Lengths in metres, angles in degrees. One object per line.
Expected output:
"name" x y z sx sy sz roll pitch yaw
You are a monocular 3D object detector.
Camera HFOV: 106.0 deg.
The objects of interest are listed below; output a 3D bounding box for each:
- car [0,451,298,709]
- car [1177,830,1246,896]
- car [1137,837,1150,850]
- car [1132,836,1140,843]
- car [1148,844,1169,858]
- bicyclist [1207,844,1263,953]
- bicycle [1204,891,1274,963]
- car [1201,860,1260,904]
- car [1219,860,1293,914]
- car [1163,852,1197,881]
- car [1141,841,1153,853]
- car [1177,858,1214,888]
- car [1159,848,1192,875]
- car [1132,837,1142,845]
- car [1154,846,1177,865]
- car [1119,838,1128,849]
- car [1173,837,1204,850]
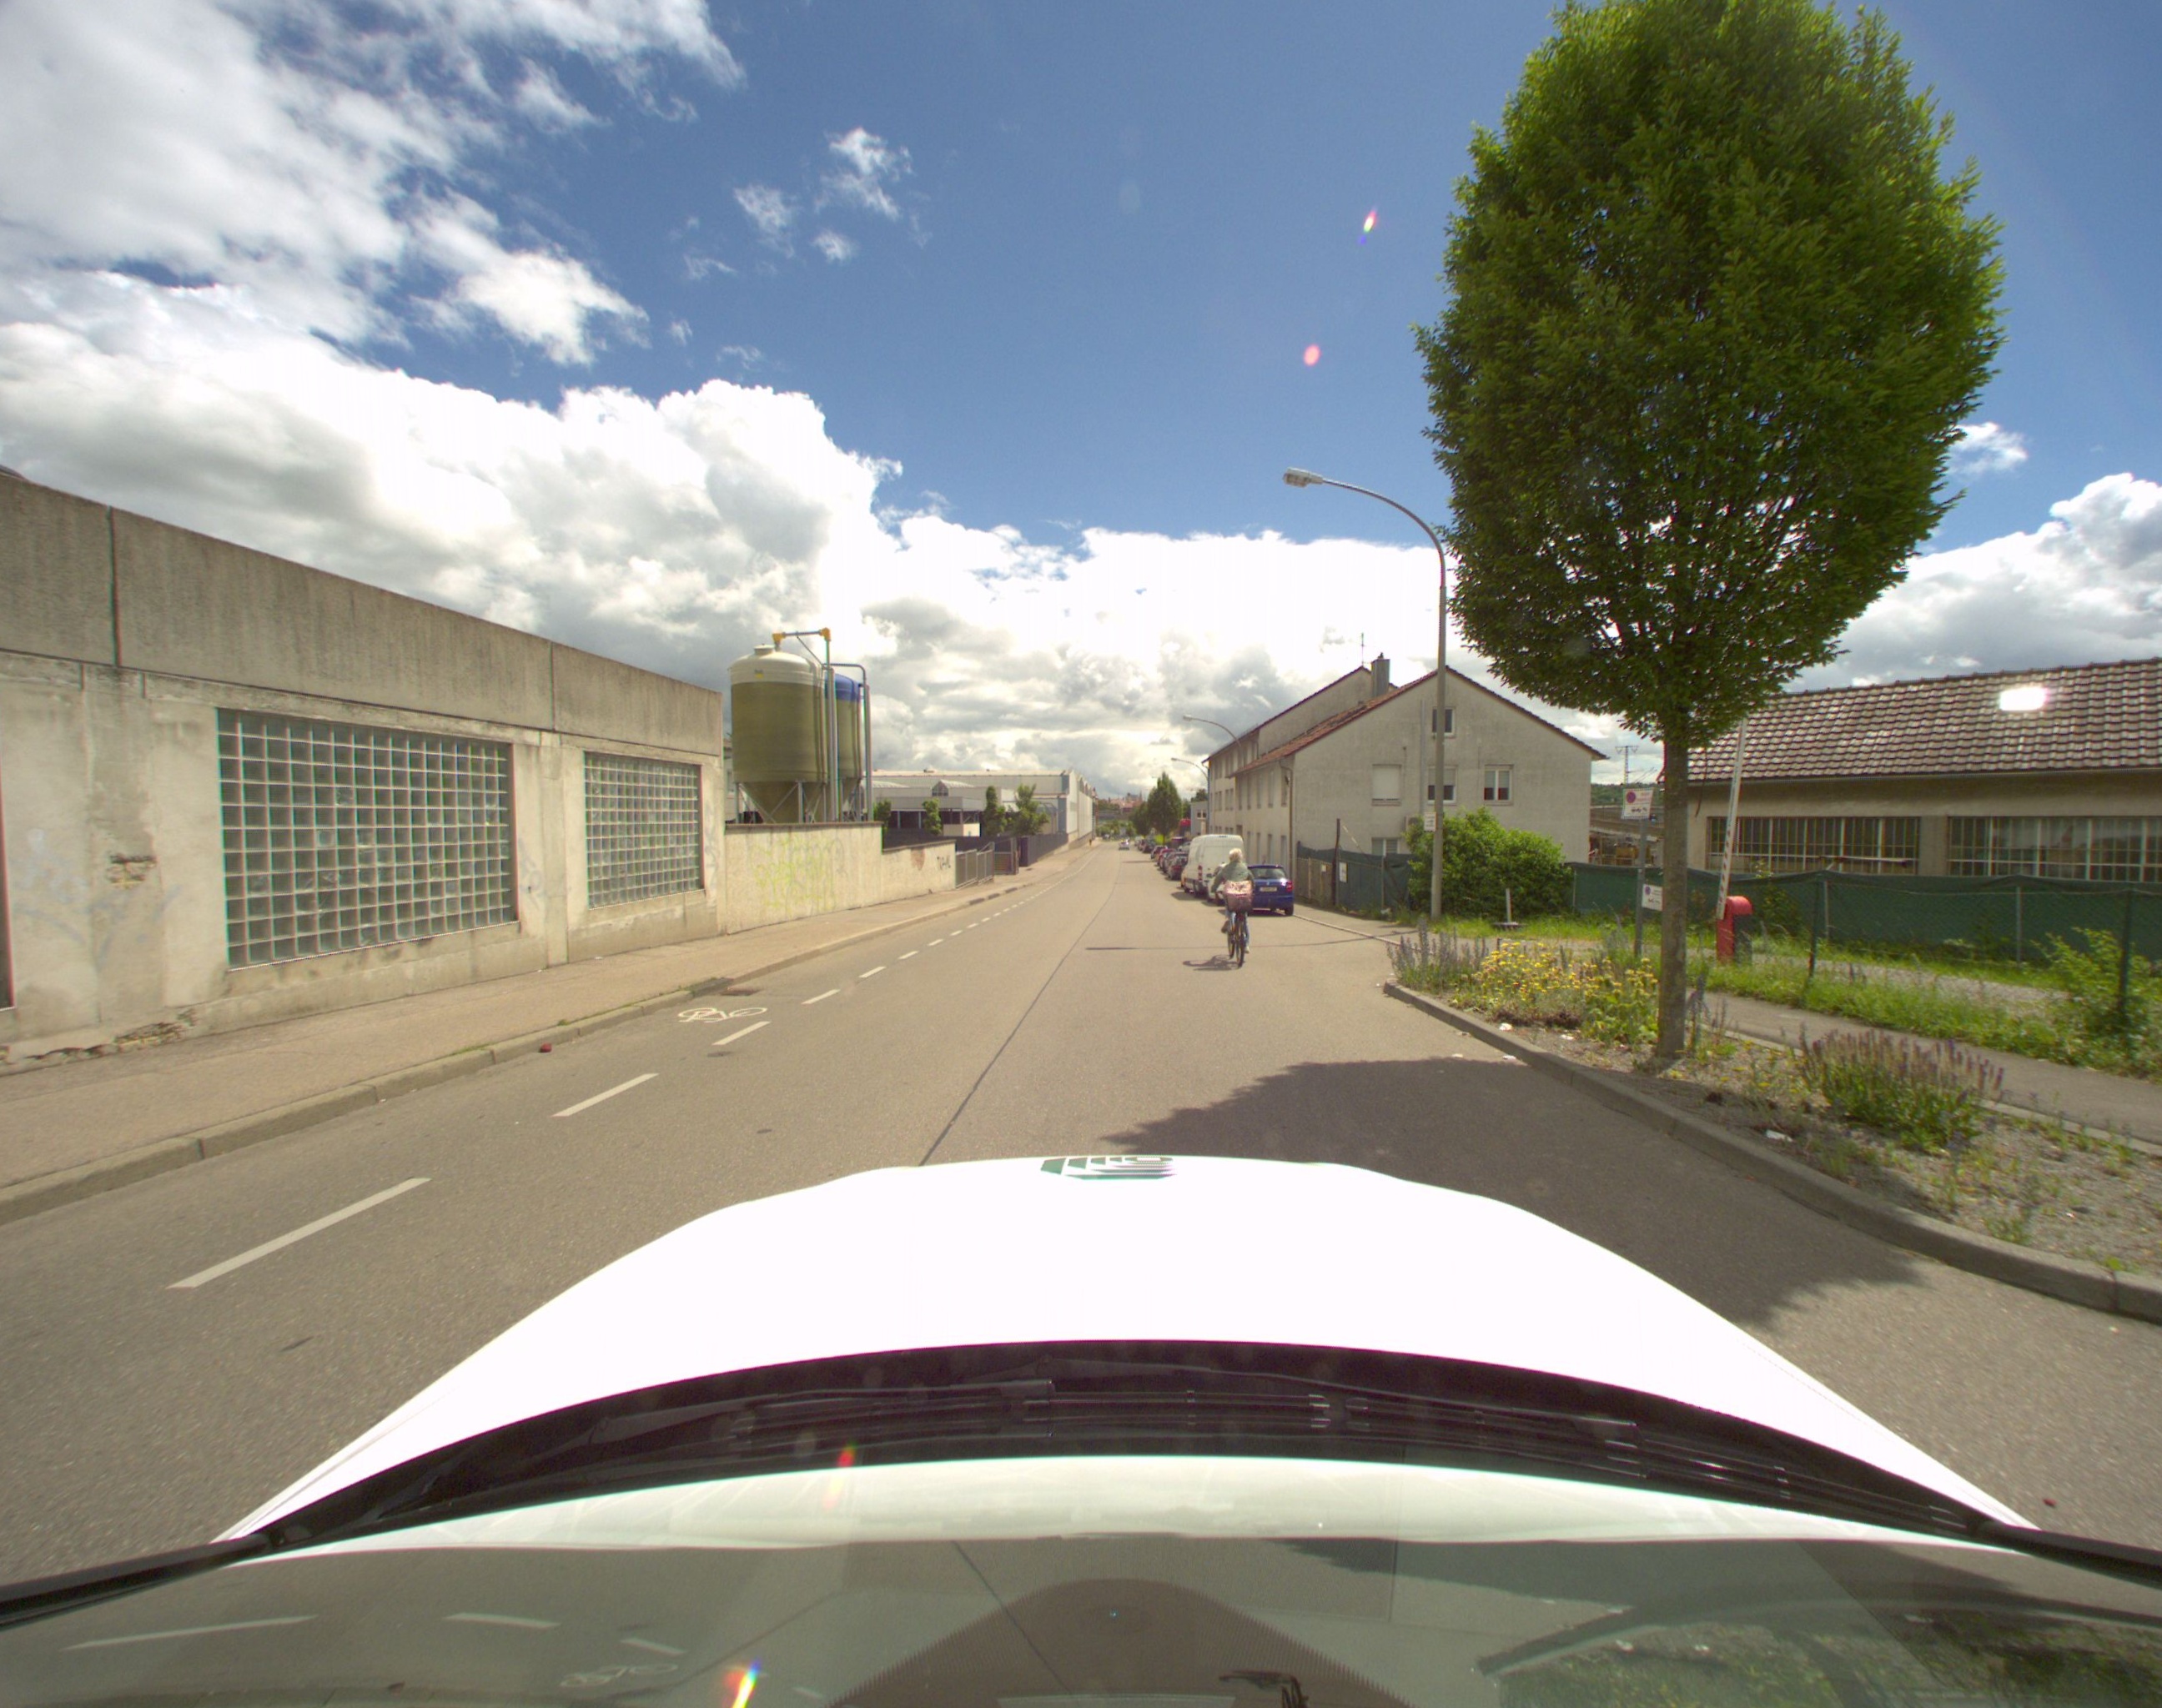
"car" -9.588 -2.430 6.871 1.798 1.637 4.109 0 -1 4
"car" 5.627 0.380 36.021 2.026 2.641 7.284 0 -1 1
"car" 9.756 -1.663 127.747 1.862 1.990 5.147 0 1 2
"car" 12.335 -3.325 182.403 1.693 1.527 3.743 0 1 4
"car" 8.195 -0.374 86.424 1.785 1.465 4.710 0 1 1
"bicyclist" 2.364 0.673 12.594 0.737 1.626 0.731 0 -1 0
"bicycle" 2.365 1.066 12.352 0.737 0.975 1.732 0 -1 0
"car" 5.427 0.981 29.934 1.587 1.510 3.791 0 -1 1
"car" 5.275 0.944 25.009 1.561 1.510 4.096 0 -1 2
"car" 6.325 0.772 52.415 1.698 1.509 5.090 2 2 2
"car" 9.166 -0.984 112.918 1.672 1.638 4.128 0 1 4
"car" 5.893 0.941 42.298 1.586 1.447 3.794 0 1 3
"car" 6.684 0.501 57.990 1.672 1.638 4.795 2 2 -1
"car" 11.809 -2.812 171.943 1.696 1.527 3.737 3 1 -1
"car" 7.265 0.123 70.278 1.728 1.472 4.265 1 2 3
"car" 7.149 -1.737 137.060 1.561 1.786 3.607 0 -1 2
"car" 14.008 -1.338 106.314 1.733 1.462 4.030 -4 2 -36
